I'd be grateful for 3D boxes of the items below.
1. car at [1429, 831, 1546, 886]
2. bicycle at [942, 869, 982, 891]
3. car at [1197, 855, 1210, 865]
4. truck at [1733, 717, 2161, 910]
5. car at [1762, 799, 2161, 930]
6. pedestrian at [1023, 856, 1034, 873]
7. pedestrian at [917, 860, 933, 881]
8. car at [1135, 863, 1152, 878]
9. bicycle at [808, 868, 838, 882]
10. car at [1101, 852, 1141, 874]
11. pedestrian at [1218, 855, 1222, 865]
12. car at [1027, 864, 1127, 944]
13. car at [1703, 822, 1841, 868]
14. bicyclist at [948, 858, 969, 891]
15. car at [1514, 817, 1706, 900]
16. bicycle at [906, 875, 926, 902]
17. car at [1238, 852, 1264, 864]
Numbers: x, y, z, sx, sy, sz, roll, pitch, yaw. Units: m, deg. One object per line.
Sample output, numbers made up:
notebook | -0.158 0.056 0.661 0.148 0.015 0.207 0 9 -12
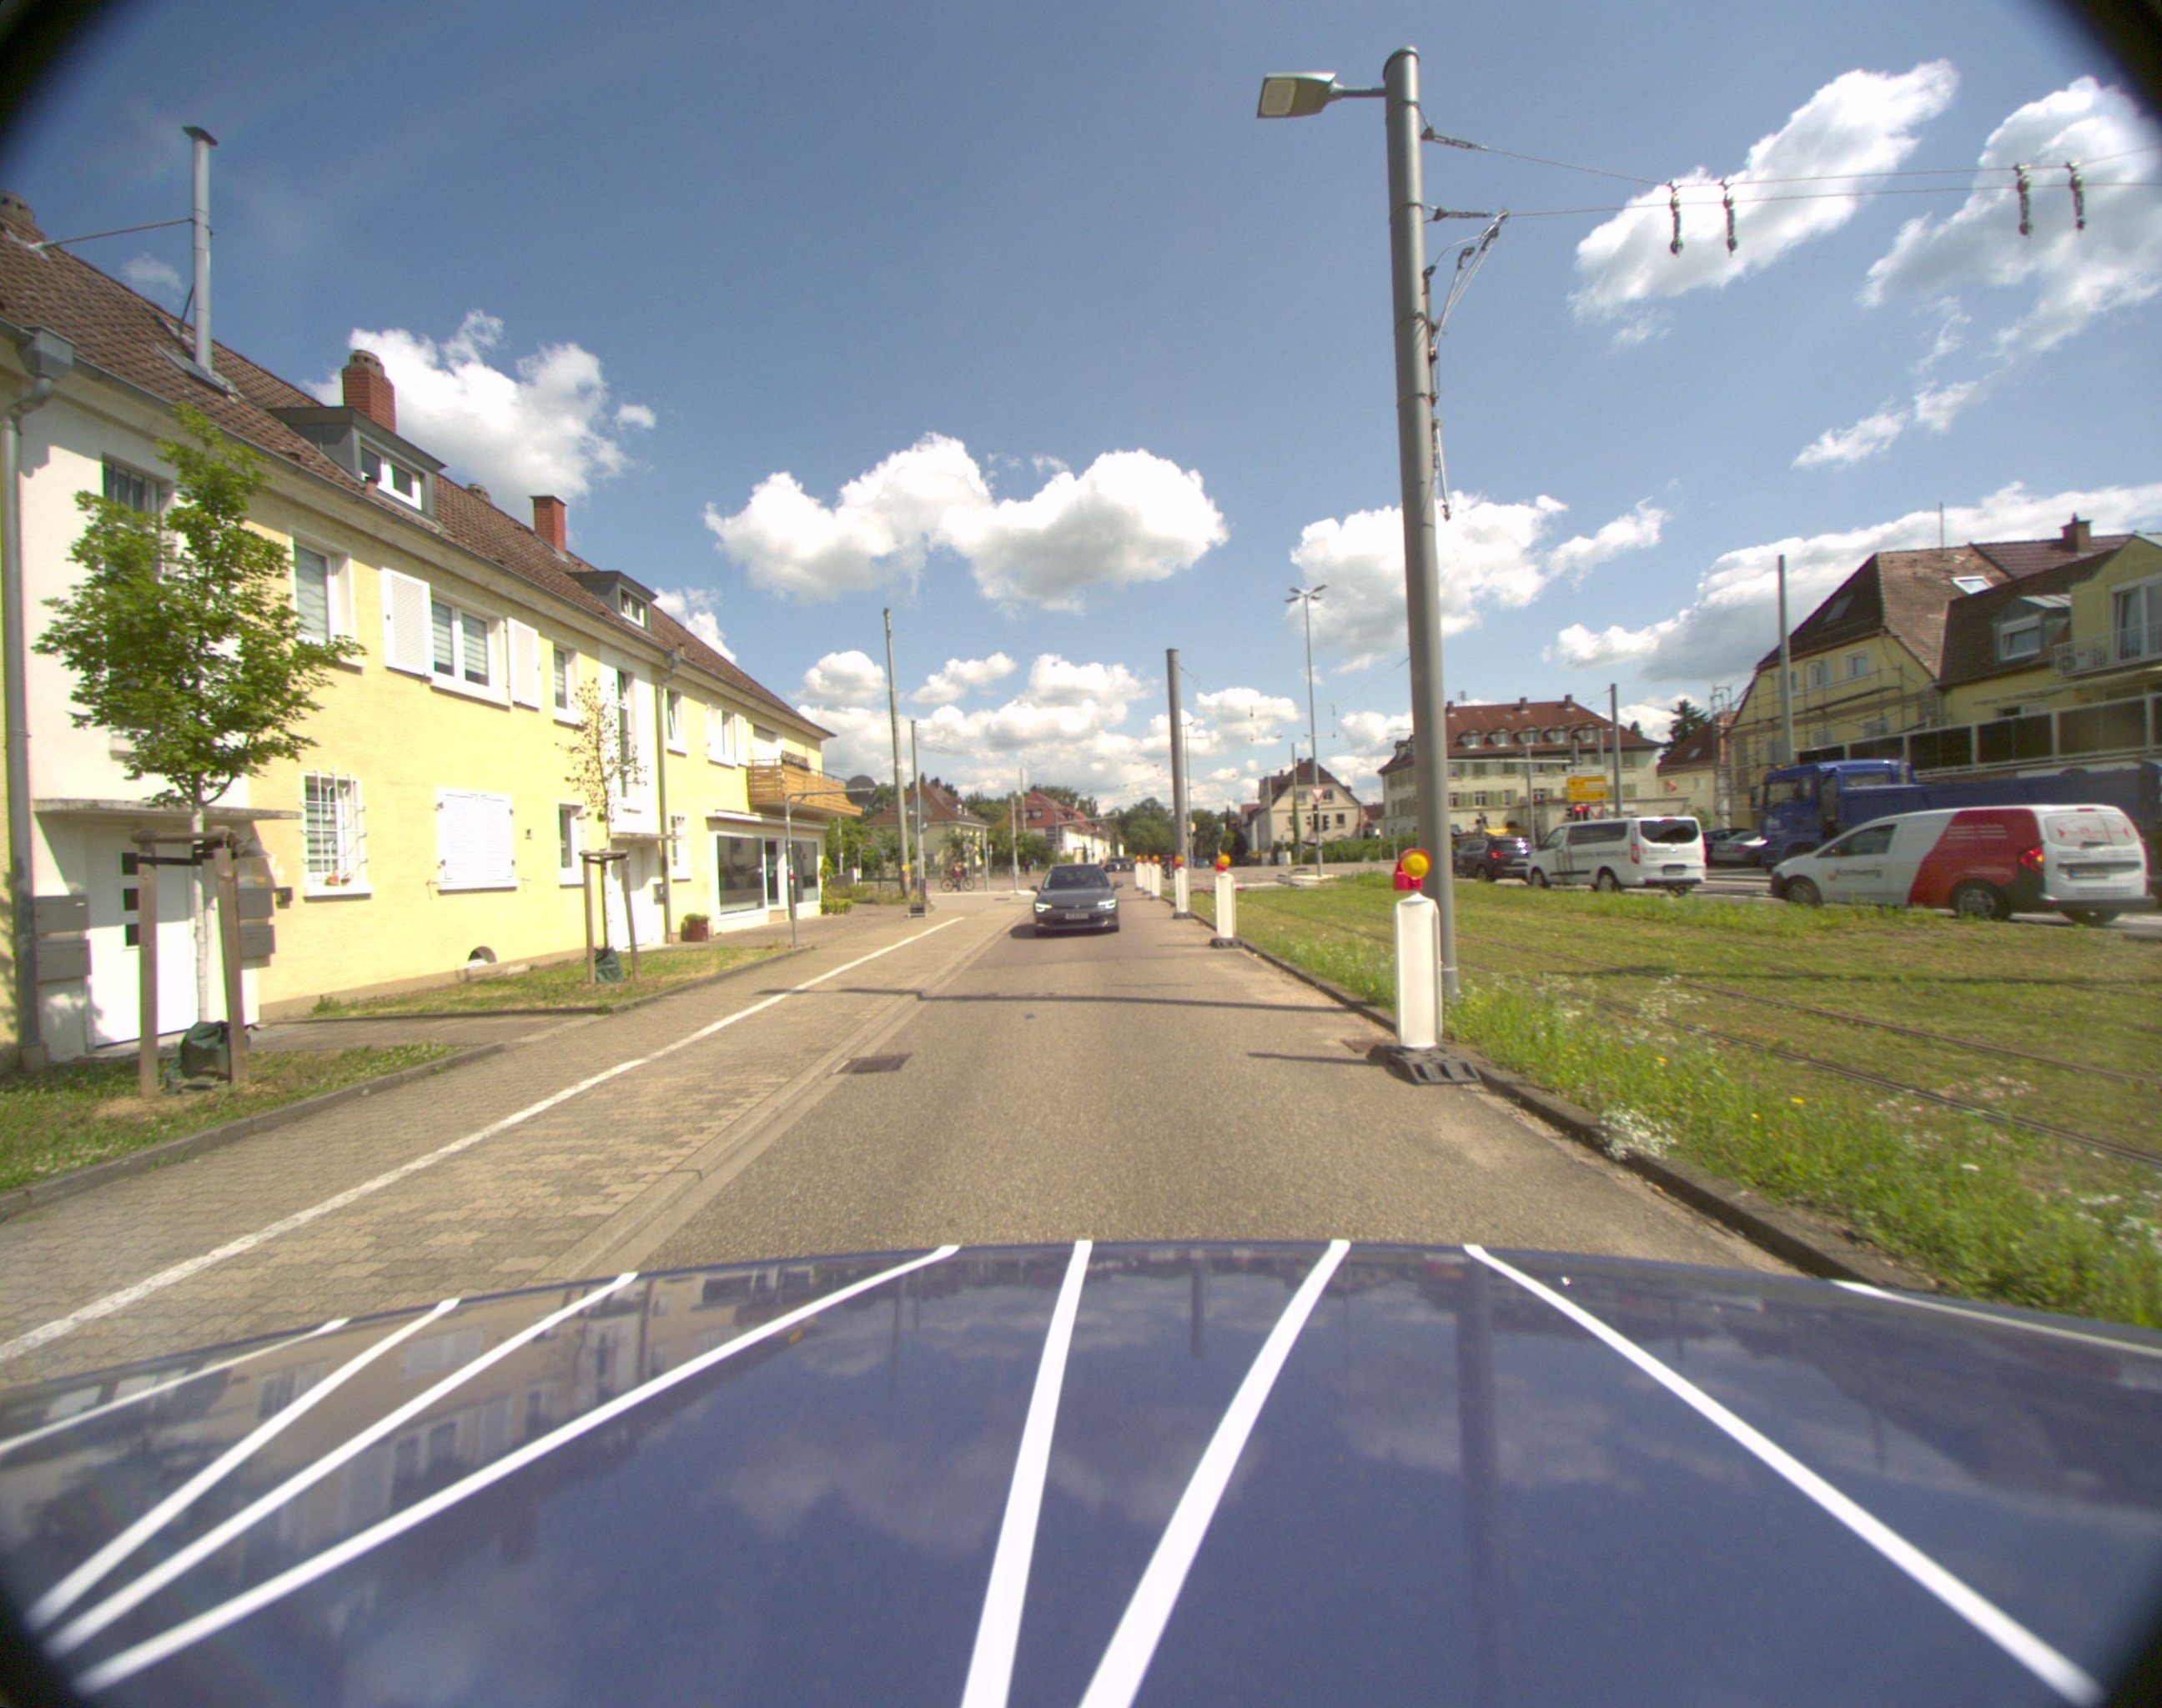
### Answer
car | 14.376 0.180 27.186 1.791 1.710 4.441 -2 -1 0
bicycle | -6.540 1.427 41.849 2.035 1.095 0.714 -3 1 -20
car | 17.834 0.901 110.739 1.708 1.453 3.156 -2 -1 7
truck | 18.835 -0.726 16.421 2.775 3.169 7.581 -2 0 -1
car | 14.350 0.144 12.784 1.737 1.771 4.404 -2 0 -1
pedestrian | -5.376 1.073 77.554 0.939 1.757 0.591 -2 0 -39
pedestrian | -13.208 1.366 64.550 1.032 1.724 1.041 -2 0 3
car | 6.673 1.740 81.186 1.709 1.453 3.156 -2 -1 6
bicycle | -26.181 2.151 77.102 2.800 1.326 0.623 -2 0 -1
car | 3.886 0.835 72.928 1.773 1.754 4.881 -3 1 30
pedestrian | 23.127 1.020 126.218 0.631 1.526 0.618 -2 0 8
car | 0.058 1.016 17.248 1.766 1.465 4.689 -2 -1 5
car | 27.354 -0.351 30.157 4.145 1.484 1.435 -4 0 -1
bicyclist | -6.724 1.120 41.778 0.961 1.764 0.718 -3 1 -19
car | 14.148 0.113 20.744 1.819 1.910 4.747 -3 0 -1
bicycle | -7.307 1.519 33.555 0.595 1.090 2.273 -3 0 -18
car | 22.286 0.490 99.541 1.757 1.378 4.110 -3 -1 37
